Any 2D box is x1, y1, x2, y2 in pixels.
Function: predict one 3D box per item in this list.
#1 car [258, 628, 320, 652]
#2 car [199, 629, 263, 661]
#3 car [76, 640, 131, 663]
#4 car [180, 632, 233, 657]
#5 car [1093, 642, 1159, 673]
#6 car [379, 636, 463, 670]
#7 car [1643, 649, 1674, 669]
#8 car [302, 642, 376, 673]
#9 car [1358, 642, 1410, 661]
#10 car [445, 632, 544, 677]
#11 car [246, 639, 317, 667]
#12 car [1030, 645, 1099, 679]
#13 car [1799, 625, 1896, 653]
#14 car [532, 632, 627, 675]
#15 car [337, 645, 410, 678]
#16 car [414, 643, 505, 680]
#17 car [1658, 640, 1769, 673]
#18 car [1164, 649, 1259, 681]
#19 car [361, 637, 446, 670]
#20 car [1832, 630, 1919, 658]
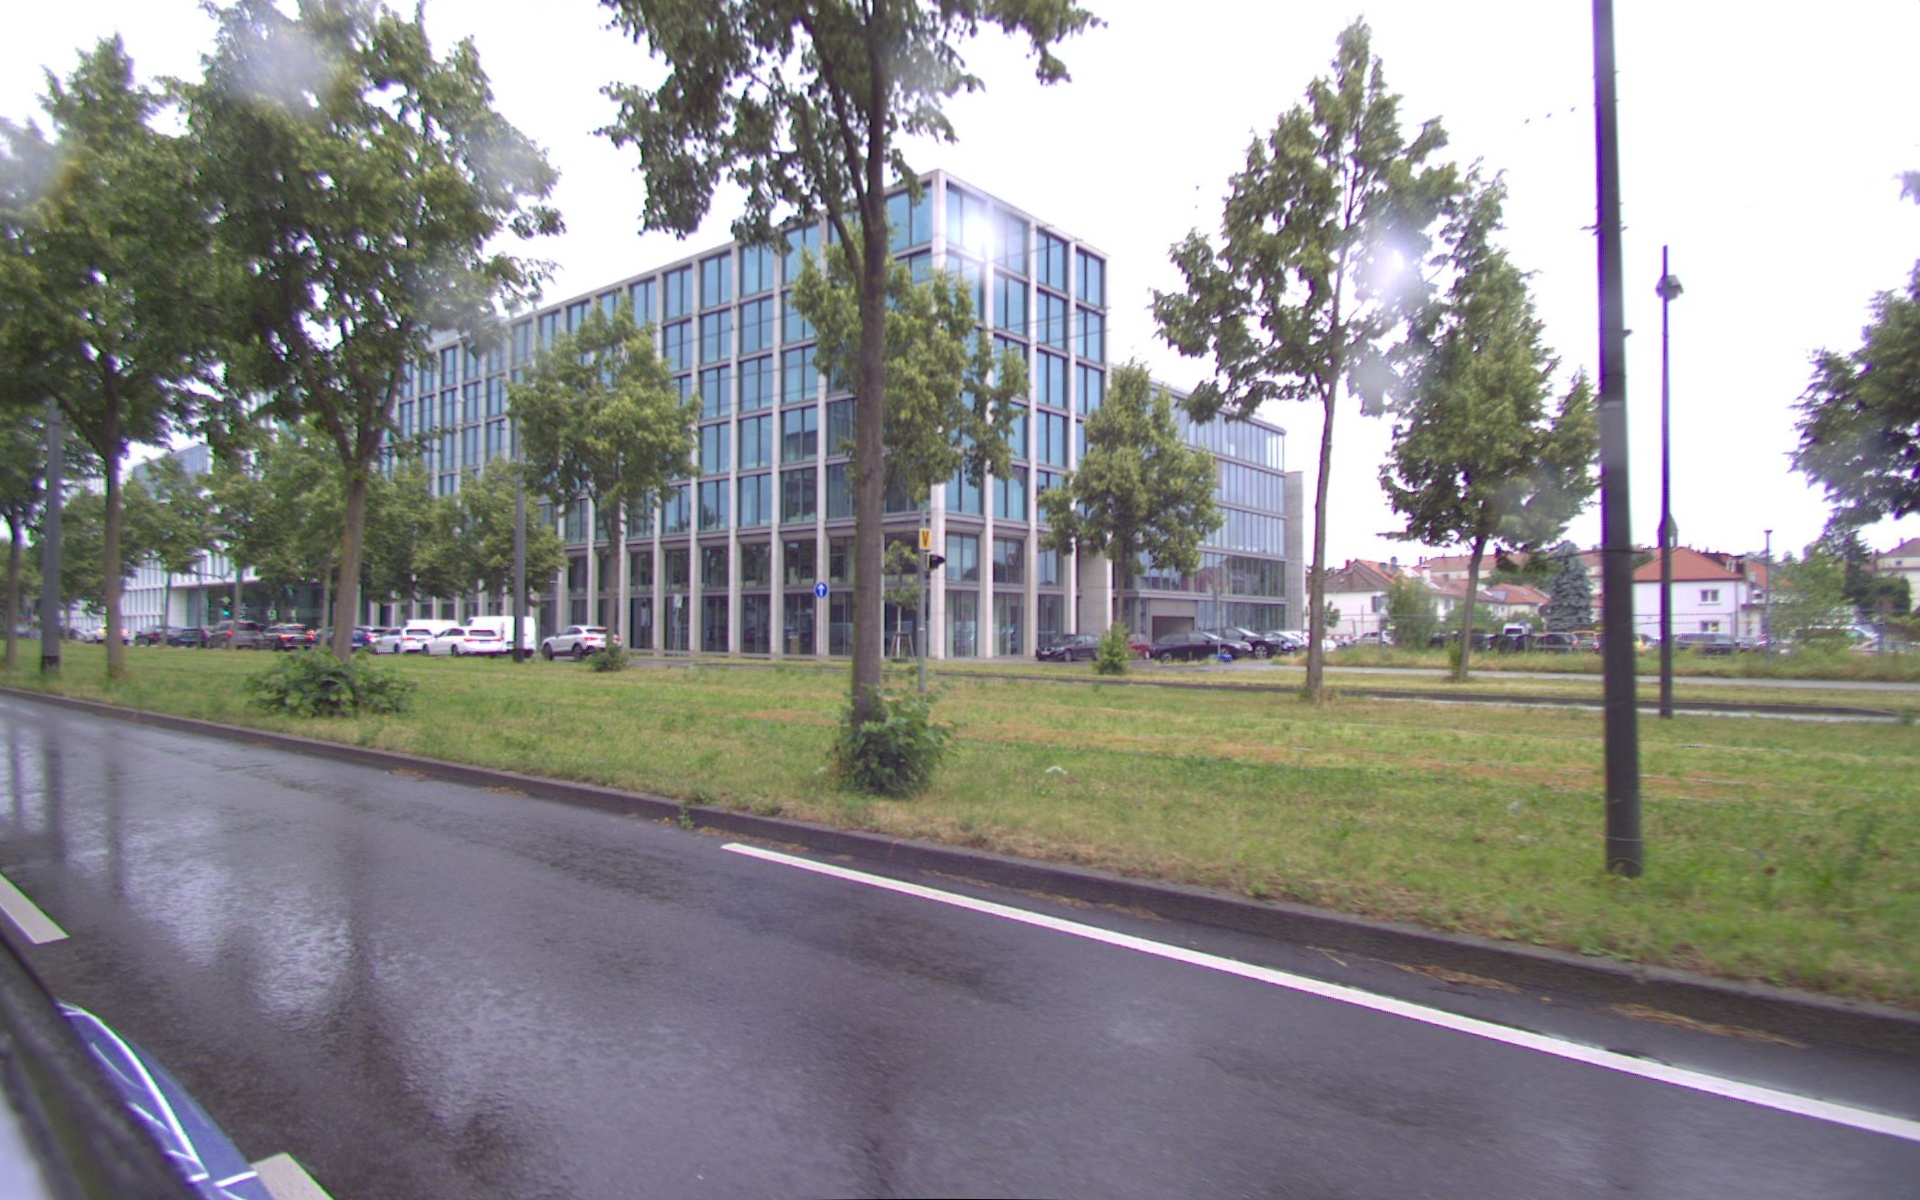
[{"bbox_3d":[-43.655,2.587,65.802,4.262,1.396,1.934,-4,-4,35],"label":"car"},{"bbox_3d":[-45.231,2.794,62.755,4.535,1.863,1.933,-3,-3,37],"label":"car"},{"bbox_3d":[-58.634,3.503,69.238,4.568,1.463,1.933,-2,-2,37],"label":"car"},{"bbox_3d":[-55.068,3.227,73.953,4.263,1.707,1.933,-1,-2,36],"label":"car"},{"bbox_3d":[9.446,3.265,57.475,1.743,1.621,4.104,-5,-4,40],"label":"car"},{"bbox_3d":[-29.000,2.867,54.416,5.018,1.664,1.934,-4,-4,35],"label":"car"},{"bbox_3d":[46.187,3.878,66.904,1.313,1.194,3.043,-5,-4,42],"label":"car"},{"bbox_3d":[-32.655,3.038,53.187,3.953,1.506,1.934,-4,-4,35],"label":"car"},{"bbox_3d":[39.684,4.814,94.710,4.224,1.621,1.724,-4,-4,34],"label":"car"},{"bbox_3d":[-22.854,2.700,49.565,5.365,2.022,2.246,-4,-4,38],"label":"car"},{"bbox_3d":[-38.628,3.016,57.611,4.595,1.396,1.933,-4,-4,36],"label":"car"},{"bbox_3d":[5.502,3.212,52.934,1.743,1.621,3.749,-5,-4,41],"label":"car"},{"bbox_3d":[48.534,2.128,55.400,3.902,1.360,1.671,-5,-4,43],"label":"car"},{"bbox_3d":[-16.718,2.316,44.372,4.572,1.762,1.931,-2,-2,40],"label":"car"},{"bbox_3d":[-33.982,3.561,58.604,4.623,1.759,1.934,-4,-4,35],"label":"car"},{"bbox_3d":[-22.318,2.745,45.058,4.828,1.472,1.930,-5,-4,41],"label":"car"},{"bbox_3d":[34.783,2.628,46.757,3.902,1.360,1.671,-5,-4,43],"label":"car"},{"bbox_3d":[10.810,2.794,43.535,3.653,1.249,1.486,-4,-4,37],"label":"car"},{"bbox_3d":[-27.138,2.582,49.275,4.568,1.525,1.933,-2,-2,37],"label":"car"},{"bbox_3d":[47.169,2.261,51.902,3.622,1.360,1.306,-5,-4,43],"label":"car"}]
